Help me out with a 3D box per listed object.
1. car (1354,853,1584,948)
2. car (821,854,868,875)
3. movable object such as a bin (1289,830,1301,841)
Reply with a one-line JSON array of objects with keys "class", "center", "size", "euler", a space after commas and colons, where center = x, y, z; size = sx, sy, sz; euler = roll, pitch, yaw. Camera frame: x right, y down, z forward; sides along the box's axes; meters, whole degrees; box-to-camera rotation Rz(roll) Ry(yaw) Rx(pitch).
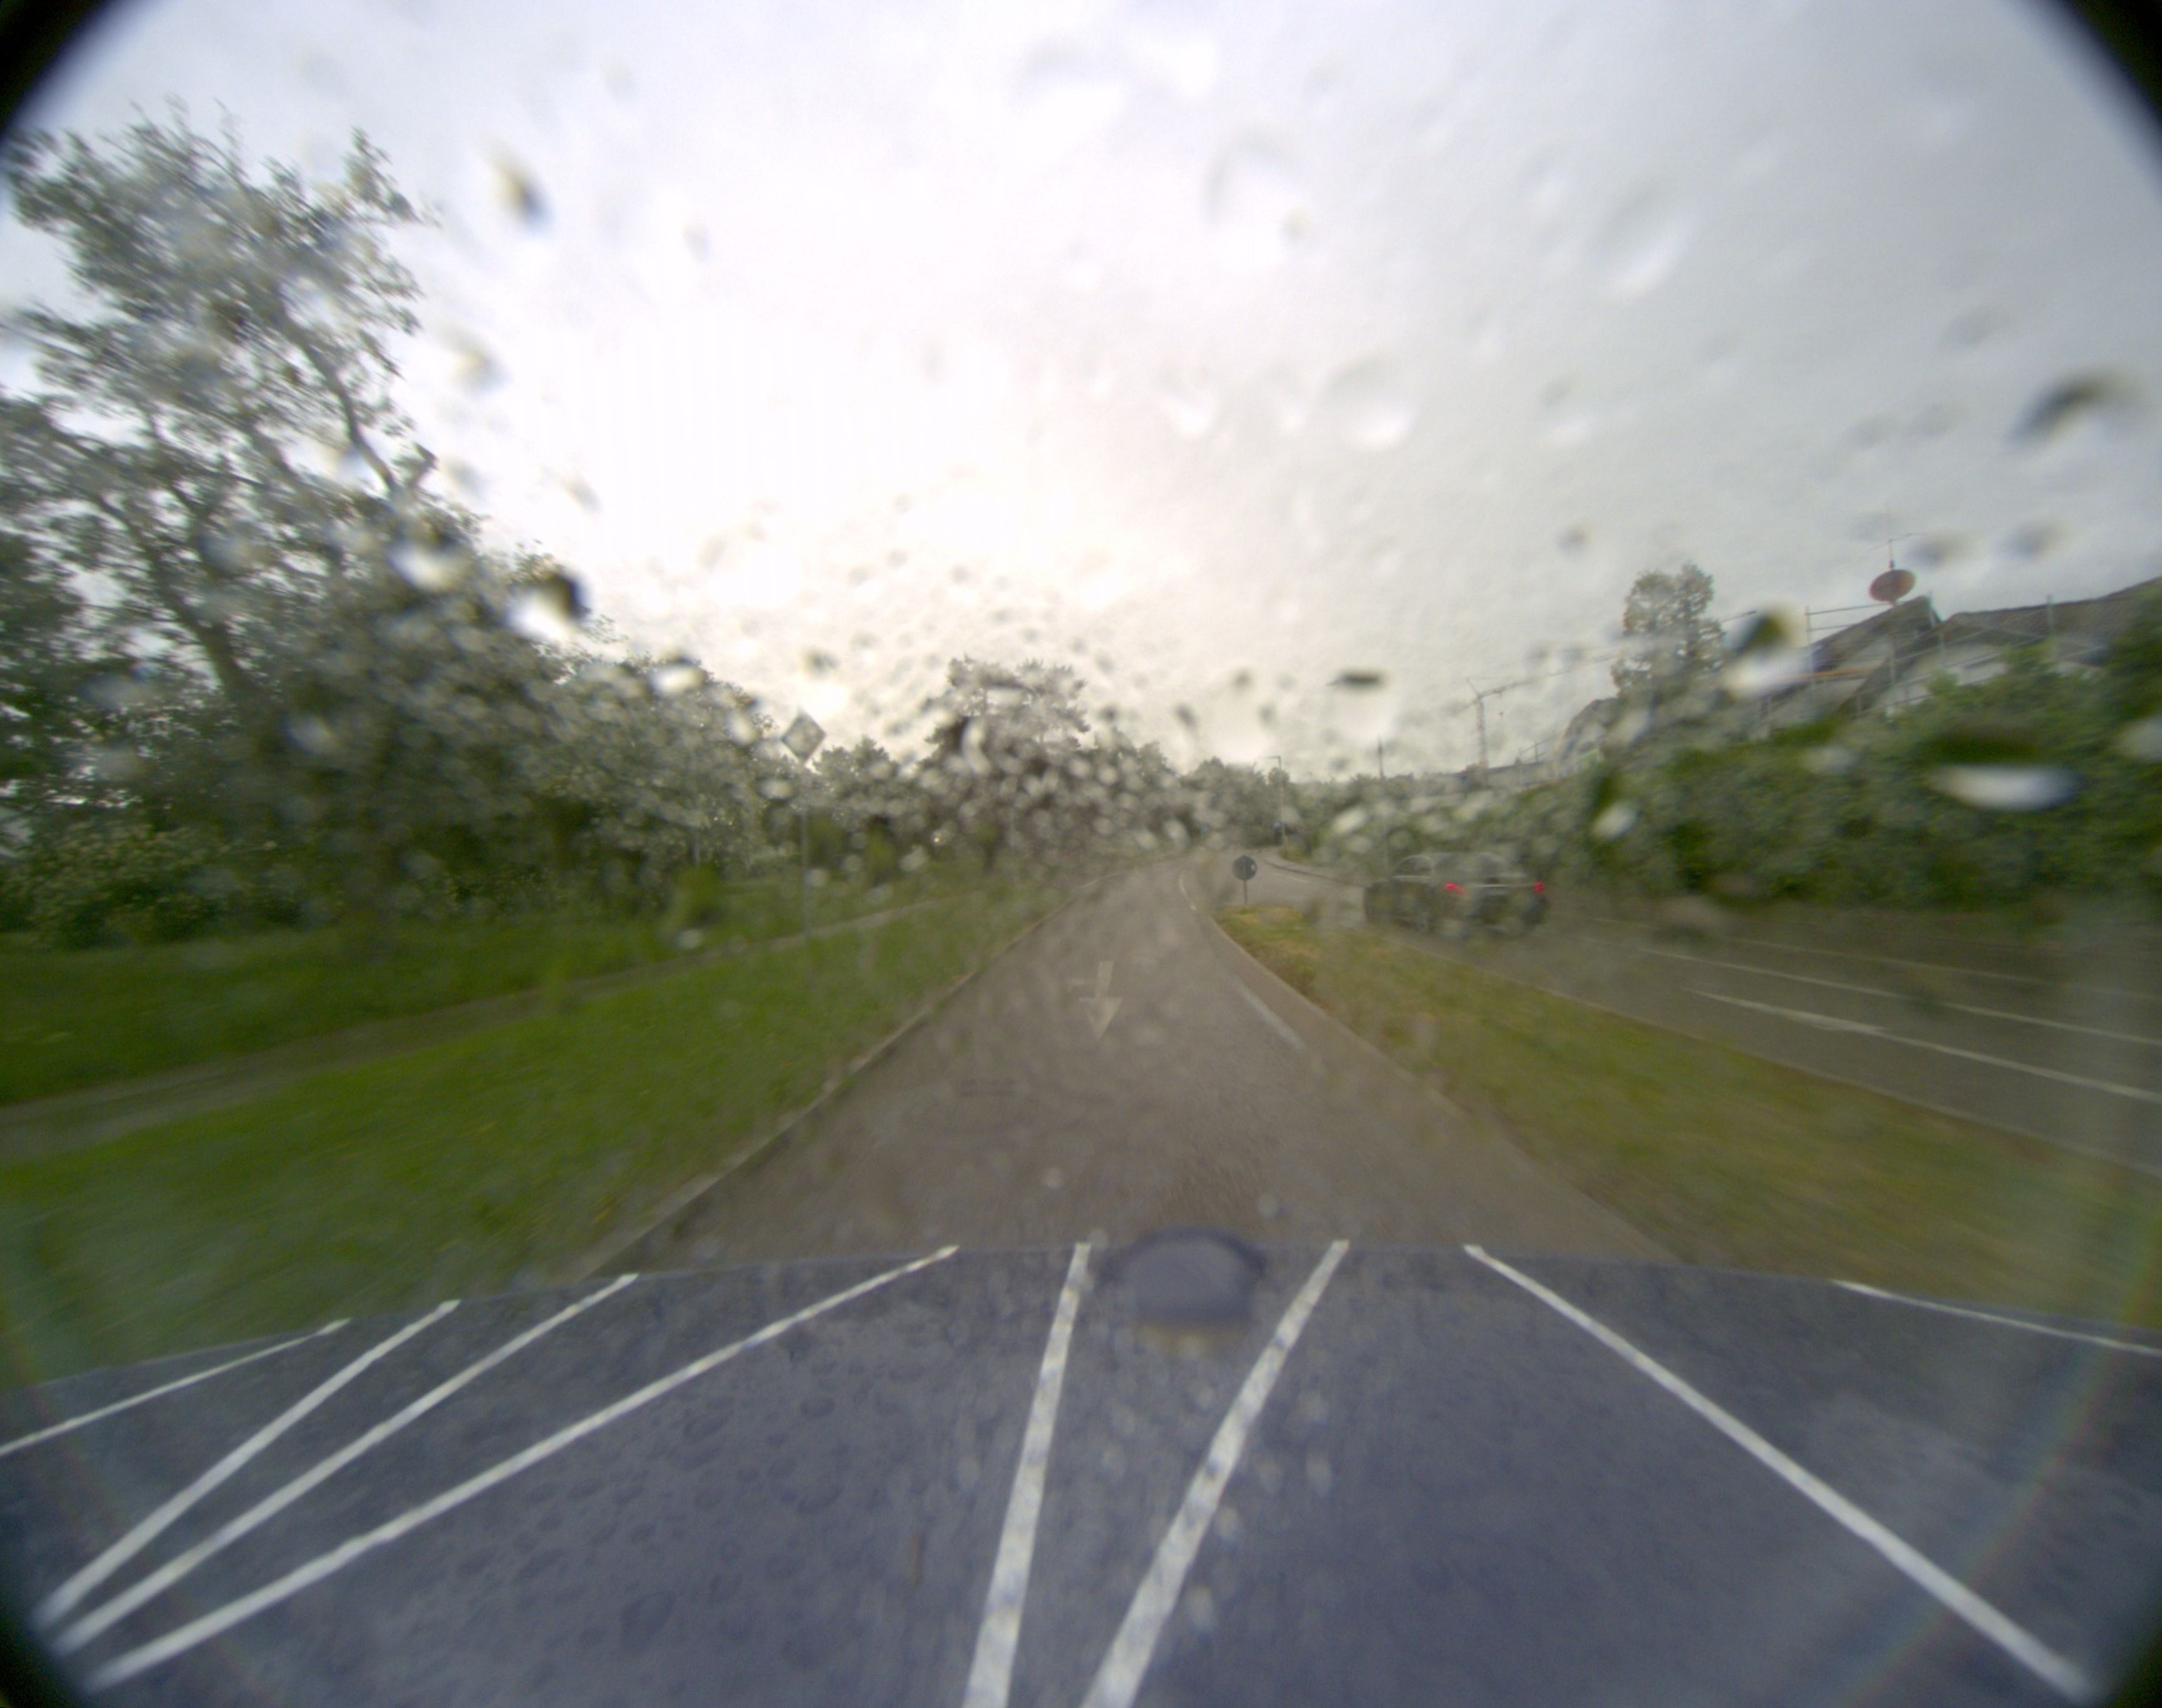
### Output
[{"class": "car", "center": [6.759, 0.715, 13.898], "size": [1.972, 1.406, 4.415], "euler": [-1, 0, 0]}, {"class": "car", "center": [-21.339, 0.909, 68.780], "size": [1.828, 1.643, 4.005], "euler": [-3, 1, 22]}, {"class": "movable object such as a bin", "center": [26.760, -2.312, 95.088], "size": [1.132, 1.314, 1.364], "euler": [-7, -1, 25]}]
